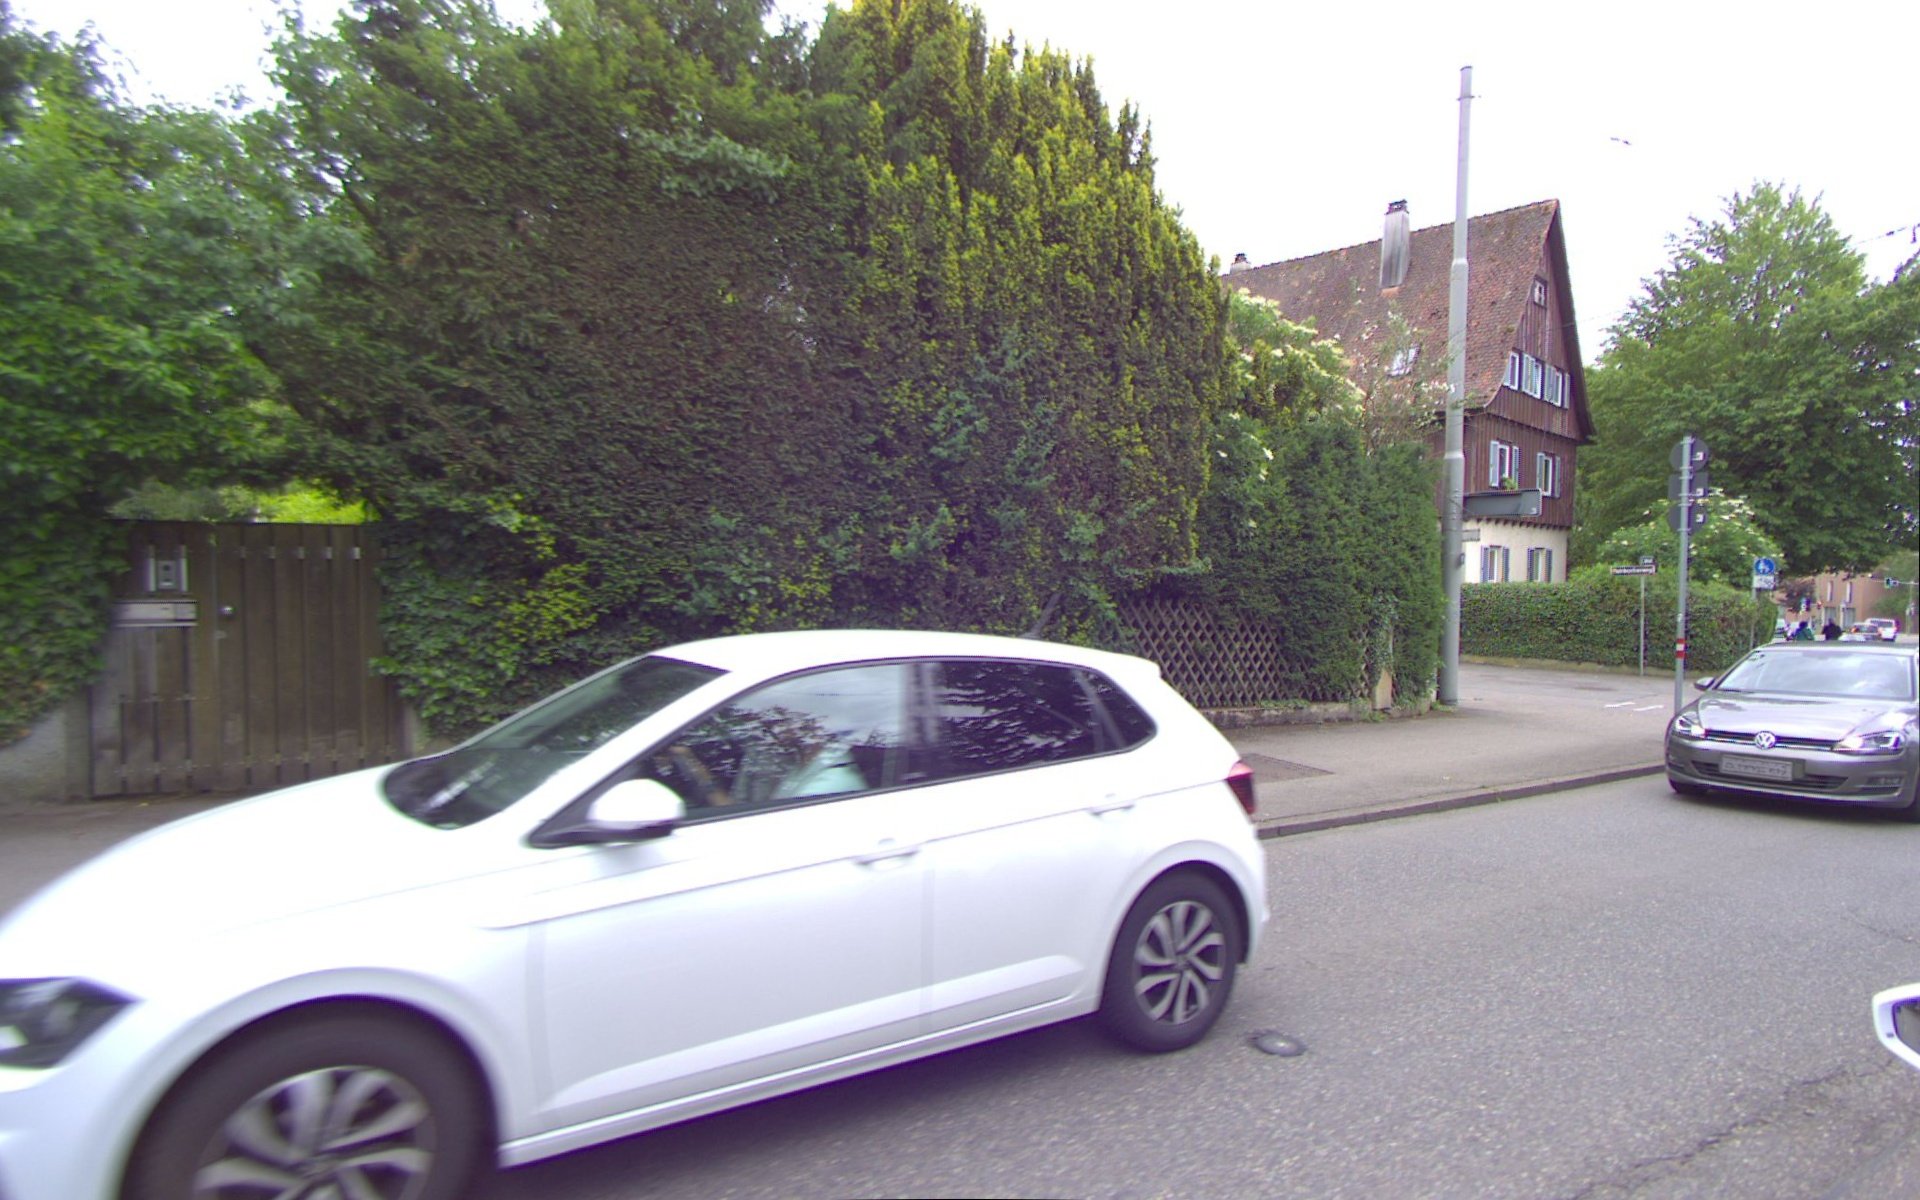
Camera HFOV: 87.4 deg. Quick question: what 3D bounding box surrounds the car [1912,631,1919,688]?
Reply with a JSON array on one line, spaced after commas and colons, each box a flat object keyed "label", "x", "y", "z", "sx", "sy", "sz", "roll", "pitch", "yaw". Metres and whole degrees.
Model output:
[{"label": "car", "x": 25.012, "y": 1.507, "z": 24.856, "sx": 1.786, "sy": 1.462, "sz": 4.179, "roll": 0, "pitch": -2, "yaw": 39}]

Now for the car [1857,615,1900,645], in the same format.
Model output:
[{"label": "car", "x": 72.256, "y": 2.340, "z": 79.031, "sx": 4.394, "sy": 2.041, "sz": 1.944, "roll": 0, "pitch": 5, "yaw": -42}]

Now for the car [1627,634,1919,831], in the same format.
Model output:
[{"label": "car", "x": 8.126, "y": 1.057, "z": 9.437, "sx": 3.872, "sy": 1.416, "sz": 1.899, "roll": 2, "pitch": -1, "yaw": -37}]

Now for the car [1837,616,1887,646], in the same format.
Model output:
[{"label": "car", "x": 57.623, "y": 1.964, "z": 64.135, "sx": 3.970, "sy": 1.729, "sz": 1.876, "roll": 2, "pitch": 1, "yaw": -42}]

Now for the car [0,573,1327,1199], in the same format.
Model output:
[{"label": "car", "x": -0.679, "y": 0.753, "z": 3.617, "sx": 3.755, "sy": 1.473, "sz": 1.892, "roll": 2, "pitch": -2, "yaw": -32}]

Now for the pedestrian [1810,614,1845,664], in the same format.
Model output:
[{"label": "pedestrian", "x": 29.978, "y": 1.336, "z": 34.722, "sx": 0.618, "sy": 1.684, "sz": 0.919, "roll": 3, "pitch": 0, "yaw": 24}]

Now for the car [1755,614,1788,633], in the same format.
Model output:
[{"label": "car", "x": 73.737, "y": 2.130, "z": 91.308, "sx": 1.806, "sy": 1.652, "sz": 4.272, "roll": 1, "pitch": 0, "yaw": 32}]

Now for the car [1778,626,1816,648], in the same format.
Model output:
[{"label": "car", "x": 62.373, "y": 2.733, "z": 74.912, "sx": 1.695, "sy": 1.491, "sz": 3.523, "roll": 1, "pitch": -1, "yaw": 32}]

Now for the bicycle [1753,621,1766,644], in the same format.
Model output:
[{"label": "bicycle", "x": 65.559, "y": 2.657, "z": 82.402, "sx": 0.749, "sy": 1.767, "sz": 1.864, "roll": 1, "pitch": 0, "yaw": 36}]

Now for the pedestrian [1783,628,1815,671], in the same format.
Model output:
[{"label": "pedestrian", "x": 29.217, "y": 1.705, "z": 34.990, "sx": 0.658, "sy": 1.468, "sz": 0.757, "roll": -1, "pitch": -1, "yaw": 23}]
